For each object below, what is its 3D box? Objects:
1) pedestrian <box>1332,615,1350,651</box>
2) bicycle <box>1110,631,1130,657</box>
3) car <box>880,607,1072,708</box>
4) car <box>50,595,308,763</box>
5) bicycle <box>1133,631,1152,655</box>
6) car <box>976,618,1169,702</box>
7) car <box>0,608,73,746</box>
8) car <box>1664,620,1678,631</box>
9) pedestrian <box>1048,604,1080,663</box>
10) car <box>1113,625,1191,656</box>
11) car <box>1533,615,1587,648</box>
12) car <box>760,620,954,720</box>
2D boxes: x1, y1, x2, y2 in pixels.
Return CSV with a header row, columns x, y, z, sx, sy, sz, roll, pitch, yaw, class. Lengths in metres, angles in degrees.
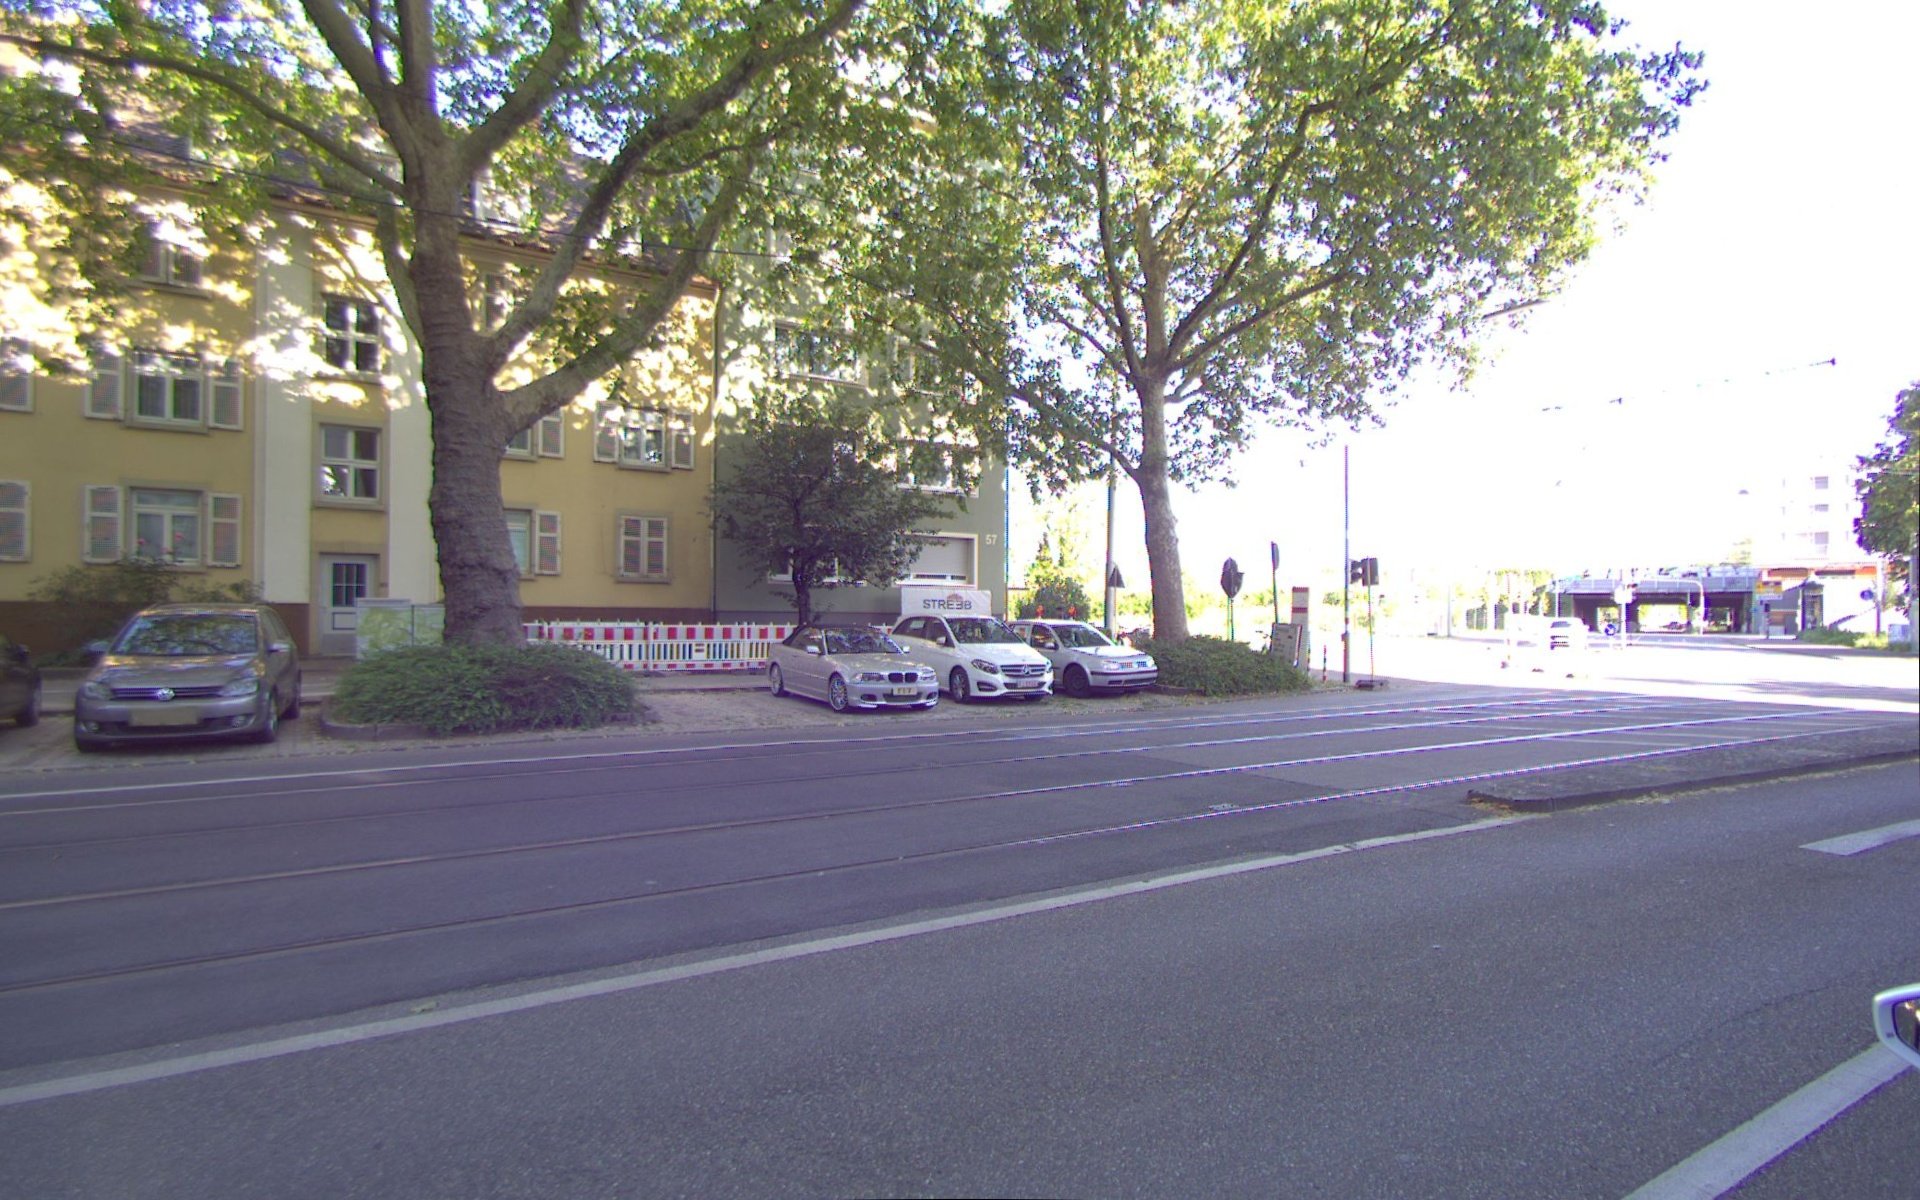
x,y,z,sx,sy,sz,roll,pitch,yaw,class
17.671,1.538,46.550,0.591,1.617,0.682,2,0,35,pedestrian
5.154,1.395,32.232,0.351,0.769,1.781,0,-1,18,bicycle
0.183,1.006,19.044,1.822,1.633,4.052,2,0,-29,car
-9.194,0.803,12.192,1.822,1.641,4.052,2,0,-29,car
6.237,1.444,34.344,0.351,0.769,1.781,0,-1,1,bicycle
2.183,1.145,20.427,1.688,1.436,3.959,2,0,-36,car
-11.630,0.846,11.279,1.673,1.466,3.834,2,0,-29,car
141.057,5.120,199.277,1.966,2.040,3.989,2,0,34,car
2.896,0.922,27.944,0.592,1.589,0.741,0,-1,33,pedestrian
11.041,2.305,57.785,3.933,1.439,1.887,0,5,34,car
31.862,1.628,53.443,1.962,1.653,4.627,0,-1,24,car
-1.880,1.101,17.151,1.822,1.387,4.052,2,0,-29,car
